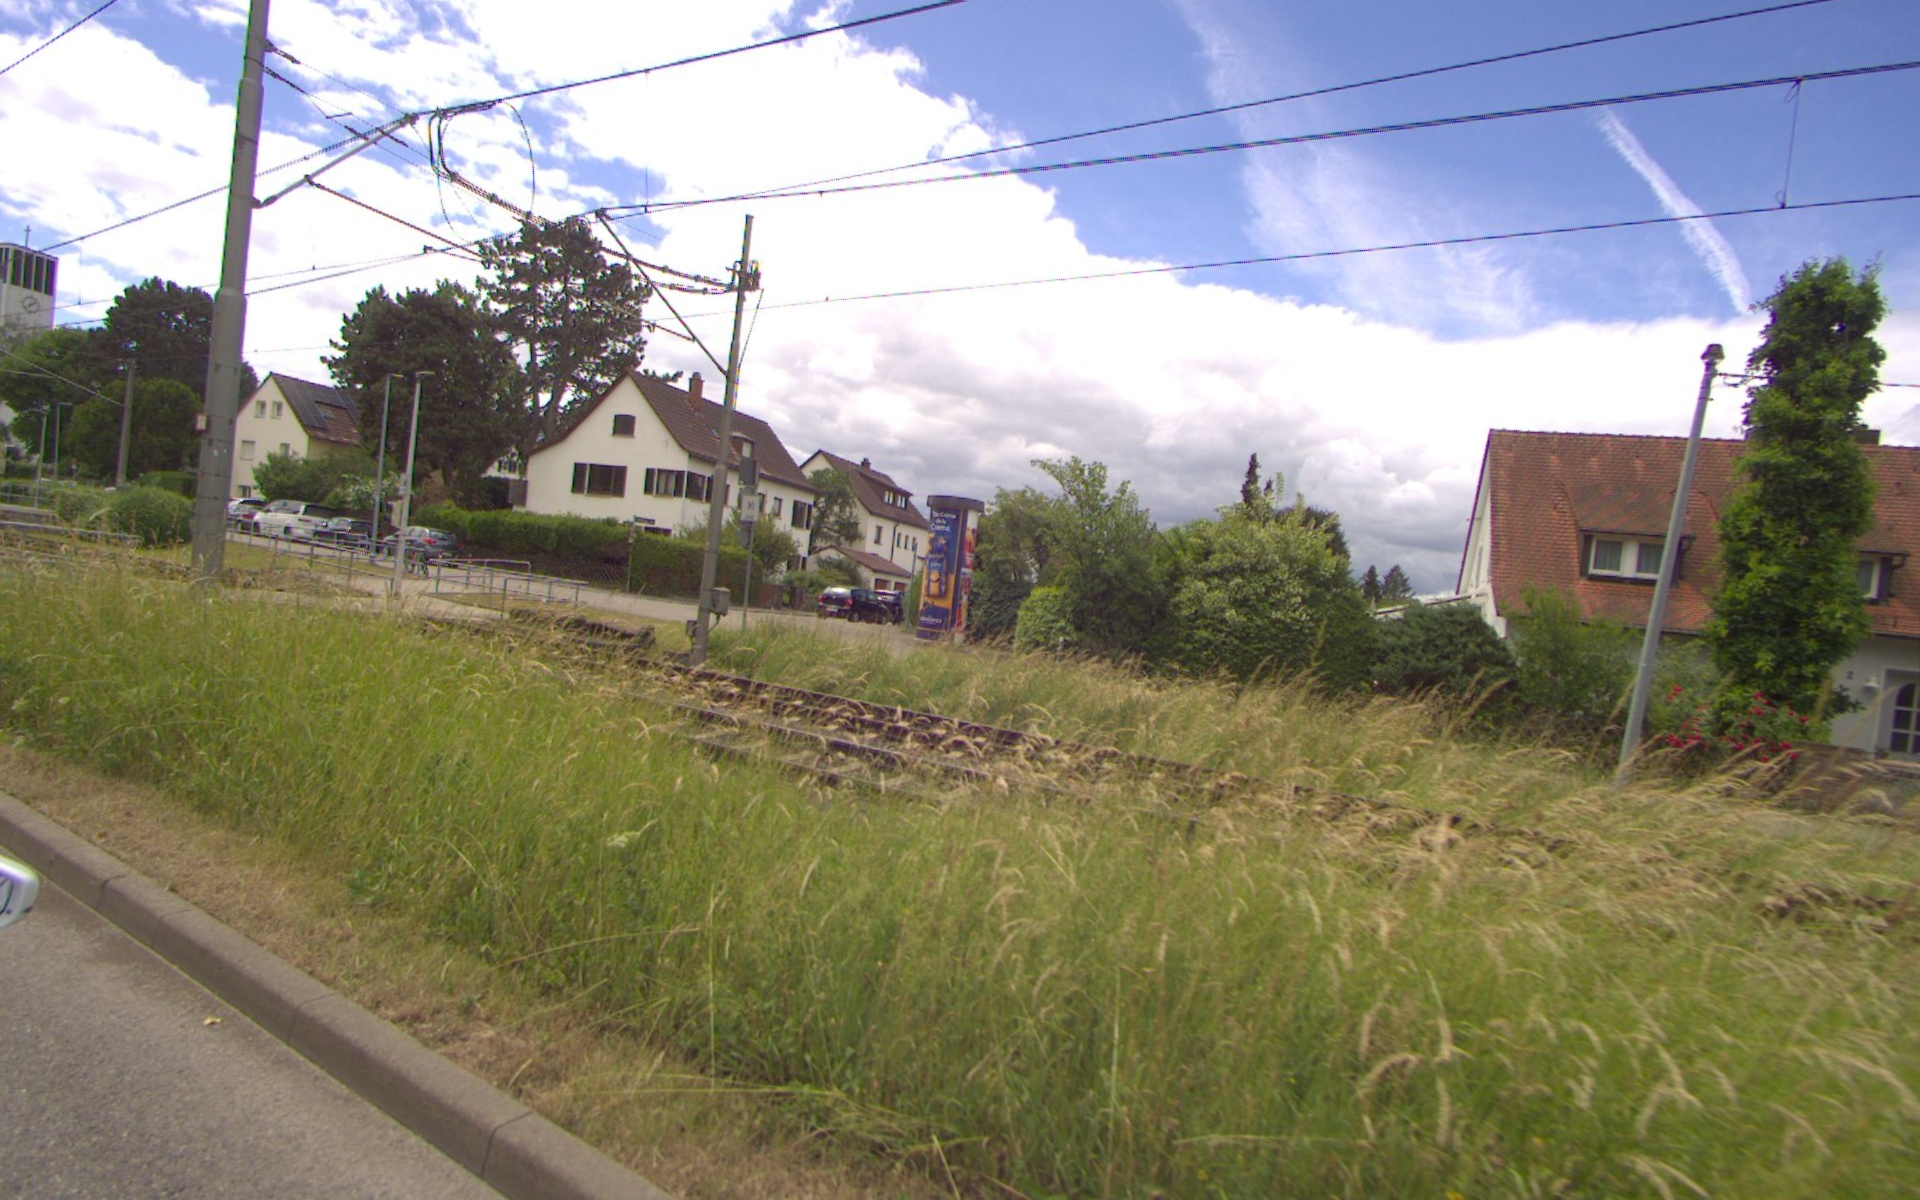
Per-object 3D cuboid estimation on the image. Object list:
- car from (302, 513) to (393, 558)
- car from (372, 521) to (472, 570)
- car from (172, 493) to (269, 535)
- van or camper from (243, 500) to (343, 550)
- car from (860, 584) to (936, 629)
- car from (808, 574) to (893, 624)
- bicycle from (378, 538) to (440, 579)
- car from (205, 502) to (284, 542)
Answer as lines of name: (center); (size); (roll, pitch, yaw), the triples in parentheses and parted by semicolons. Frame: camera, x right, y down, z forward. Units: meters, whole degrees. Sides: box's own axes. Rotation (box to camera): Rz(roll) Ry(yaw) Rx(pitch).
car: (-27.271, -2.890, 44.744); (3.935, 1.541, 1.885); (7, 0, 34)
car: (-22.198, -2.239, 41.488); (3.935, 1.541, 1.885); (7, 0, 34)
car: (-44.221, -5.125, 60.237); (1.716, 1.970, 4.332); (7, 3, 27)
van or camper: (-31.398, -3.537, 47.334); (4.964, 1.848, 1.907); (7, 0, 32)
car: (-2.686, 0.321, 44.353); (1.791, 1.643, 3.972); (7, 0, 20)
car: (-4.260, -0.003, 39.714); (1.791, 1.643, 3.732); (7, 0, 18)
bicycle: (-17.380, -1.318, 31.691); (2.499, 1.058, 0.538); (7, 1, 34)
car: (-35.871, -3.929, 50.422); (3.935, 1.541, 1.885); (7, 0, 34)
